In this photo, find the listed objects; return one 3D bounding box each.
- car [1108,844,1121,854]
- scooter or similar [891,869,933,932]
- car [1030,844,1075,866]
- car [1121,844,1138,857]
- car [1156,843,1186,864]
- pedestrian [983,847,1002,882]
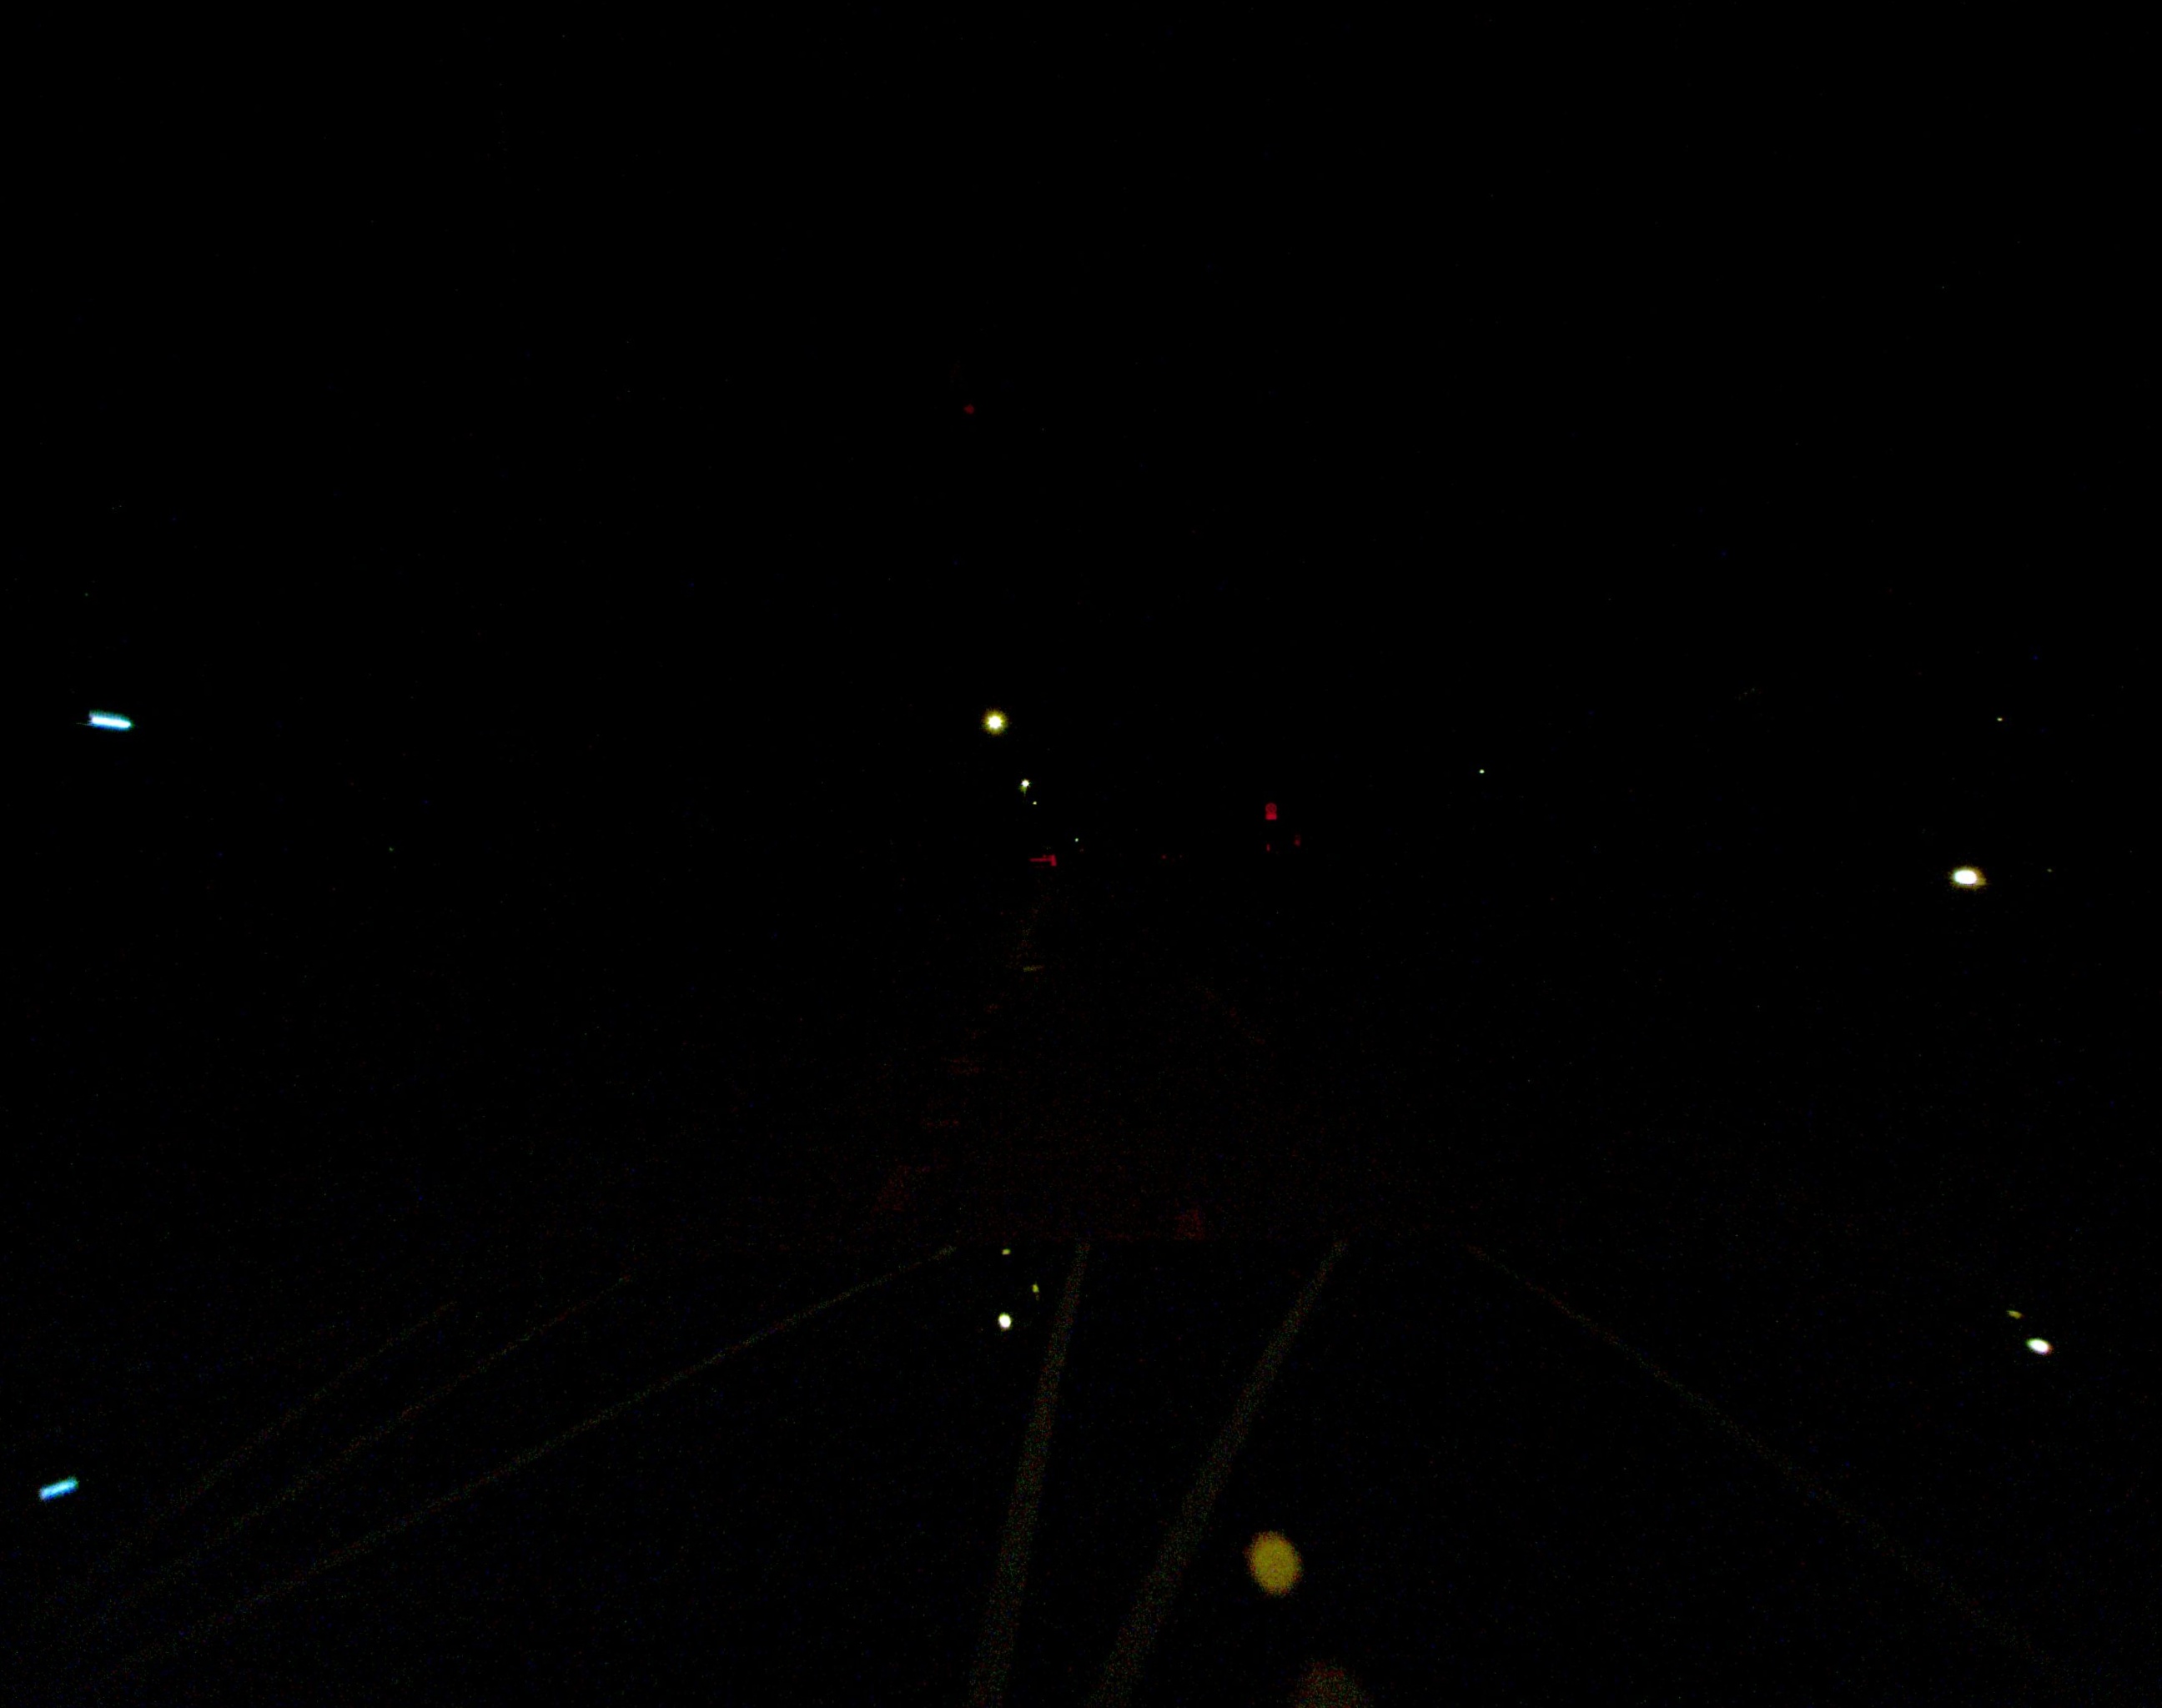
[{"bbox_3d":[5.208,-0.813,118.455,1.911,1.445,3.999,-3,2,1],"label":"car"},{"bbox_3d":[-3.613,0.966,16.340,0.570,1.271,1.391,0,0,0],"label":"scooter or similar"},{"bbox_3d":[-2.601,0.095,70.749,3.997,1.821,1.912,-2,2,0],"label":"car"},{"bbox_3d":[6.382,-0.475,100.479,1.911,1.445,3.999,-3,2,1],"label":"car"},{"bbox_3d":[7.200,-0.057,60.993,1.911,1.445,3.999,-3,2,1],"label":"car"},{"bbox_3d":[-4.741,0.545,40.840,0.824,1.809,0.608,-3,2,1],"label":"pedestrian"}]
